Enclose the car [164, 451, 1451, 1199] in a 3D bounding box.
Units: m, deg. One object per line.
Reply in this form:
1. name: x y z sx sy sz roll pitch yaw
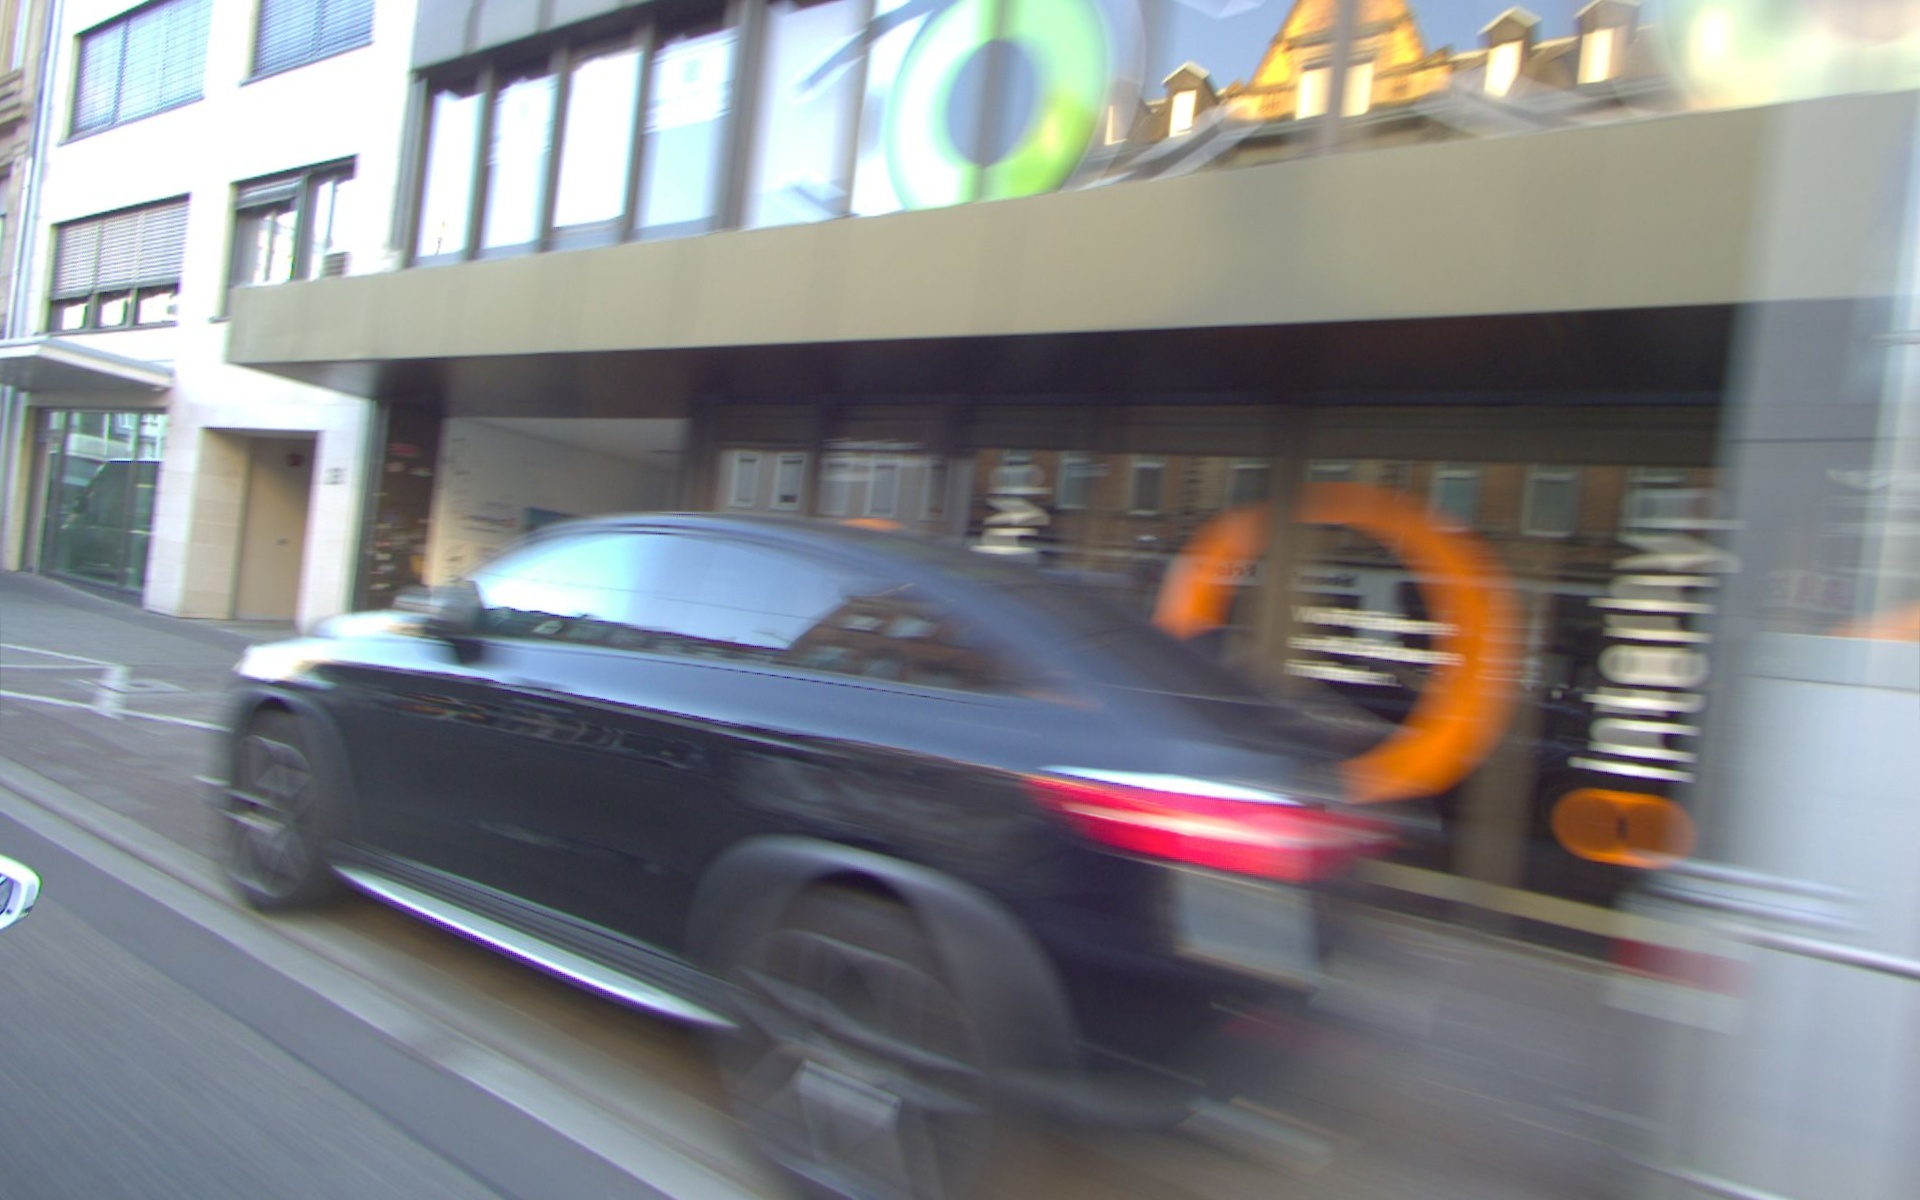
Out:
1. car: -0.845 0.529 3.868 4.593 1.757 1.985 7 2 32
